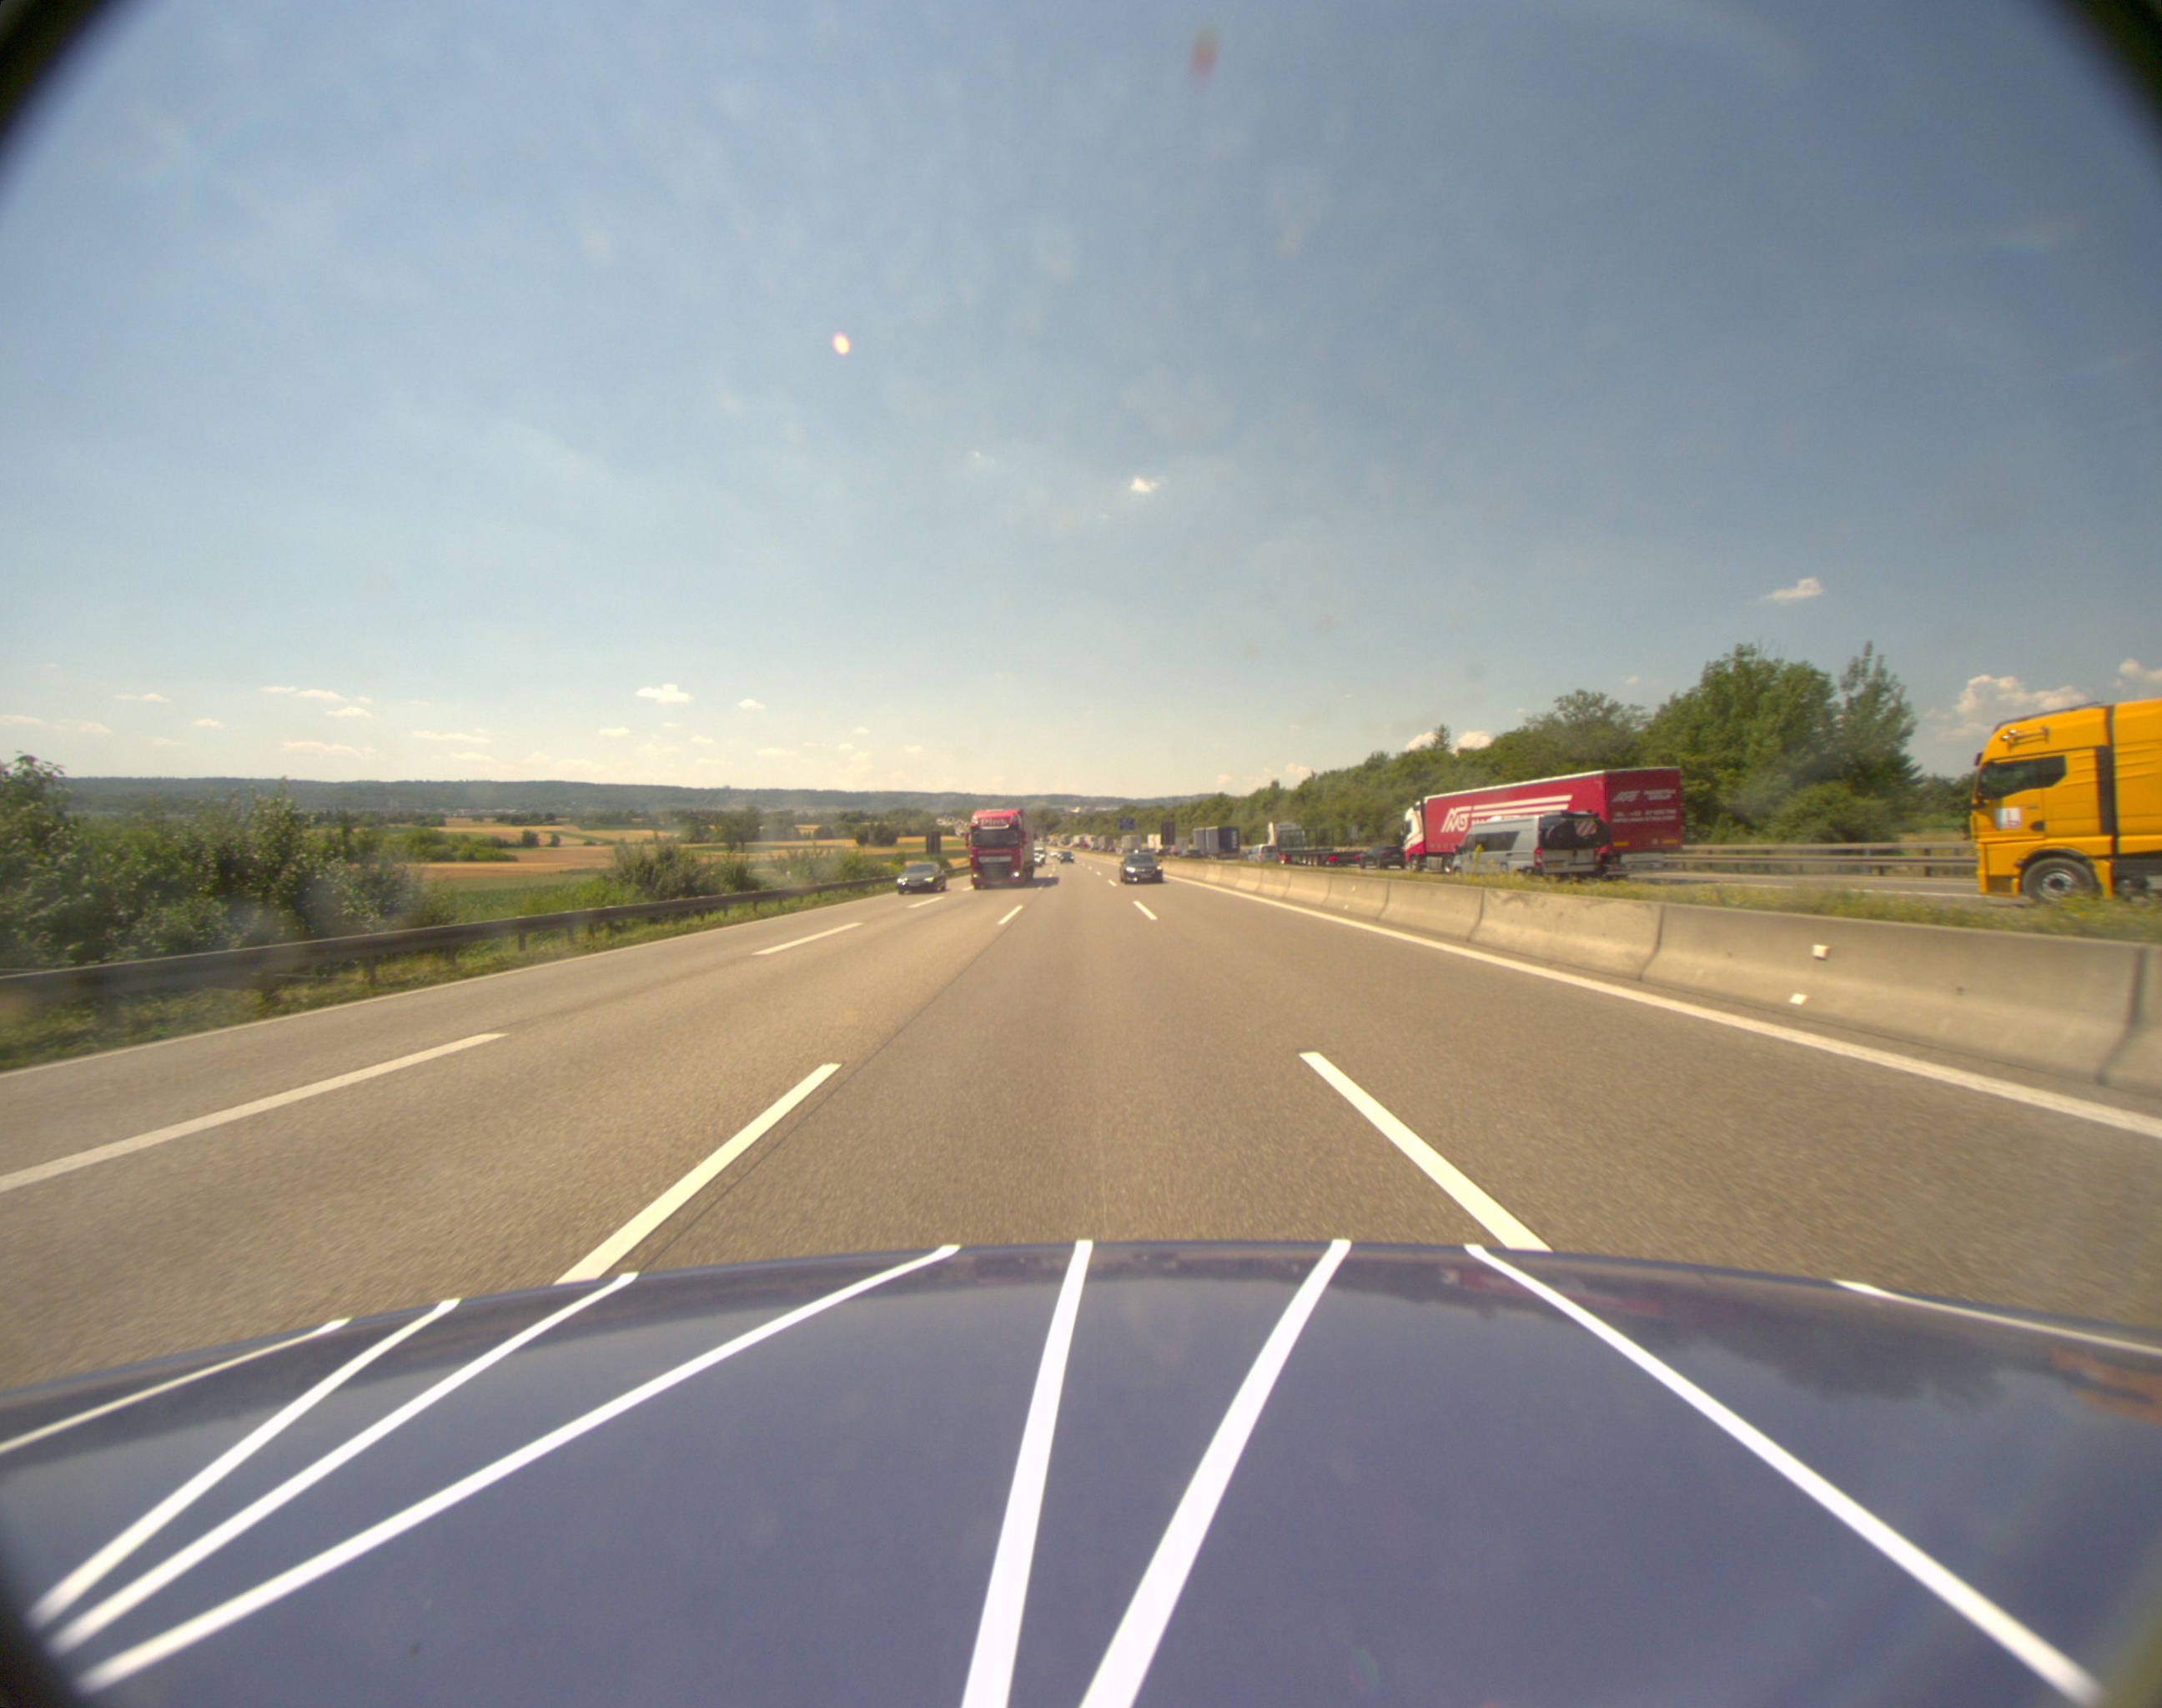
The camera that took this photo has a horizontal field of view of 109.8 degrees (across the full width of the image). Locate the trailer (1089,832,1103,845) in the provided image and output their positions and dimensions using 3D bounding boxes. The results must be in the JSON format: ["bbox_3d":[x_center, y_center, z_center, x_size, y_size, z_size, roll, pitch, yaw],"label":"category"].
[{"bbox_3d":[5.234,-5.369,266.112,2.819,4.254,13.856,-3,2,-6],"label":"trailer"}]

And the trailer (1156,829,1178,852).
[{"bbox_3d":[16.163,-2.498,142.774,2.928,4.048,8.227,-1,1,-2],"label":"trailer"}]

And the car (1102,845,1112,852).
[{"bbox_3d":[6.117,-1.271,181.879,1.999,1.518,4.770,-3,1,-2],"label":"car"}]

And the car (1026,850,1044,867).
[{"bbox_3d":[-5.382,0.501,88.161,1.838,1.636,4.168,-3,2,-6],"label":"car"}]

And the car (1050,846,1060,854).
[{"bbox_3d":[-5.562,-0.839,161.401,1.999,1.467,3.997,-3,3,-2],"label":"car"}]

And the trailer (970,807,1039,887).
[{"bbox_3d":[-4.409,-0.539,47.046,2.926,4.094,13.853,-3,1,-1],"label":"trailer"}]

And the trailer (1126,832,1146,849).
[{"bbox_3d":[13.286,-3.360,186.317,2.911,4.063,14.436,-2,1,-3],"label":"trailer"}]

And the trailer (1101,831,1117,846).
[{"bbox_3d":[8.620,-4.920,235.162,2.991,4.183,14.181,-3,2,-5],"label":"trailer"}]

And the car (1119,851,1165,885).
[{"bbox_3d":[2.938,0.636,37.466,1.808,1.534,4.749,-2,0,0],"label":"car"}]

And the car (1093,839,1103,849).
[{"bbox_3d":[5.141,-3.068,231.345,2.145,2.771,6.619,-3,3,-5],"label":"car"}]

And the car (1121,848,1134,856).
[{"bbox_3d":[8.747,-0.455,143.741,1.842,1.278,4.871,-3,3,-2],"label":"car"}]

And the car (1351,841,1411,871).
[{"bbox_3d":[18.986,0.076,48.257,1.842,1.622,4.601,-3,3,-2],"label":"car"}]

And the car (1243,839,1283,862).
[{"bbox_3d":[15.006,-0.294,62.857,1.918,1.762,4.761,-3,1,-2],"label":"car"}]

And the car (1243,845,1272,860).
[{"bbox_3d":[17.888,-0.150,77.374,1.661,1.423,4.646,-2,1,-2],"label":"car"}]

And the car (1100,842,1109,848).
[{"bbox_3d":[6.577,-2.405,210.792,1.757,1.452,4.854,-3,3,-5],"label":"car"}]

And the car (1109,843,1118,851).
[{"bbox_3d":[8.377,-1.813,195.868,1.867,1.632,5.109,-2,3,-4],"label":"car"}]

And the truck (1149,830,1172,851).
[{"bbox_3d":[15.793,-2.644,152.214,2.851,3.876,11.242,-1,1,-3],"label":"truck"}]

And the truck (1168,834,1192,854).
[{"bbox_3d":[16.502,-1.688,127.358,2.545,3.189,7.585,-2,1,-3],"label":"truck"}]

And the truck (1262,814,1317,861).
[{"bbox_3d":[18.443,-1.419,67.492,2.908,3.854,6.176,-3,1,-2],"label":"truck"}]

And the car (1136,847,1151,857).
[{"bbox_3d":[9.992,-0.356,121.697,1.842,1.574,4.553,-3,1,-2],"label":"car"}]

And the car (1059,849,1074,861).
[{"bbox_3d":[-2.024,0.185,104.146,1.866,1.426,3.997,-2,2,-3],"label":"car"}]

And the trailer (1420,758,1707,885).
[{"bbox_3d":[19.267,-1.145,32.452,3.093,4.077,14.379,-3,1,1],"label":"trailer"}]

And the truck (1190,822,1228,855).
[{"bbox_3d":[17.489,-2.143,104.606,3.009,4.210,10.730,-2,1,-2],"label":"truck"}]

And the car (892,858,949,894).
[{"bbox_3d":[-7.688,1.020,36.784,2.037,1.543,3.999,-2,0,-3],"label":"car"}]

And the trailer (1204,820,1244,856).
[{"bbox_3d":[17.748,-1.990,94.905,2.994,4.169,8.592,-2,1,-1],"label":"trailer"}]

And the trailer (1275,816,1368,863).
[{"bbox_3d":[18.615,-1.054,59.988,2.865,3.187,12.779,-3,1,-1],"label":"trailer"}]

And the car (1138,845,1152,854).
[{"bbox_3d":[11.964,-0.901,143.279,1.999,1.518,4.770,-3,1,-2],"label":"car"}]

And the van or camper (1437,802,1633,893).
[{"bbox_3d":[15.044,-0.217,25.914,2.317,2.572,7.141,-3,1,0],"label":"van or camper"}]

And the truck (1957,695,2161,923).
[{"bbox_3d":[19.476,-0.804,12.159,2.757,3.815,7.098,-3,0,2],"label":"truck"}]

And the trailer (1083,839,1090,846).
[{"bbox_3d":[1.862,-3.723,253.429,1.574,2.240,3.958,-2,1,-8],"label":"trailer"}]

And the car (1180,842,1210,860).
[{"bbox_3d":[11.568,-0.344,77.283,2.054,1.686,5.254,-3,1,-2],"label":"car"}]

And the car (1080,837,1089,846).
[{"bbox_3d":[1.158,-4.181,258.551,2.244,2.997,6.545,-2,1,-8],"label":"car"}]

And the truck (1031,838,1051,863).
[{"bbox_3d":[-5.474,-0.534,103.981,2.446,3.011,6.911,-3,2,-3],"label":"truck"}]

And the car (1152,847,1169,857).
[{"bbox_3d":[13.096,-0.346,125.447,1.999,1.447,5.168,-2,1,-2],"label":"car"}]

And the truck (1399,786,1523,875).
[{"bbox_3d":[19.288,-1.132,39.062,3.043,4.058,6.313,-3,1,0],"label":"truck"}]

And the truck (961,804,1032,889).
[{"bbox_3d":[-4.280,-0.440,39.928,2.924,3.986,6.508,-3,2,-1],"label":"truck"}]
